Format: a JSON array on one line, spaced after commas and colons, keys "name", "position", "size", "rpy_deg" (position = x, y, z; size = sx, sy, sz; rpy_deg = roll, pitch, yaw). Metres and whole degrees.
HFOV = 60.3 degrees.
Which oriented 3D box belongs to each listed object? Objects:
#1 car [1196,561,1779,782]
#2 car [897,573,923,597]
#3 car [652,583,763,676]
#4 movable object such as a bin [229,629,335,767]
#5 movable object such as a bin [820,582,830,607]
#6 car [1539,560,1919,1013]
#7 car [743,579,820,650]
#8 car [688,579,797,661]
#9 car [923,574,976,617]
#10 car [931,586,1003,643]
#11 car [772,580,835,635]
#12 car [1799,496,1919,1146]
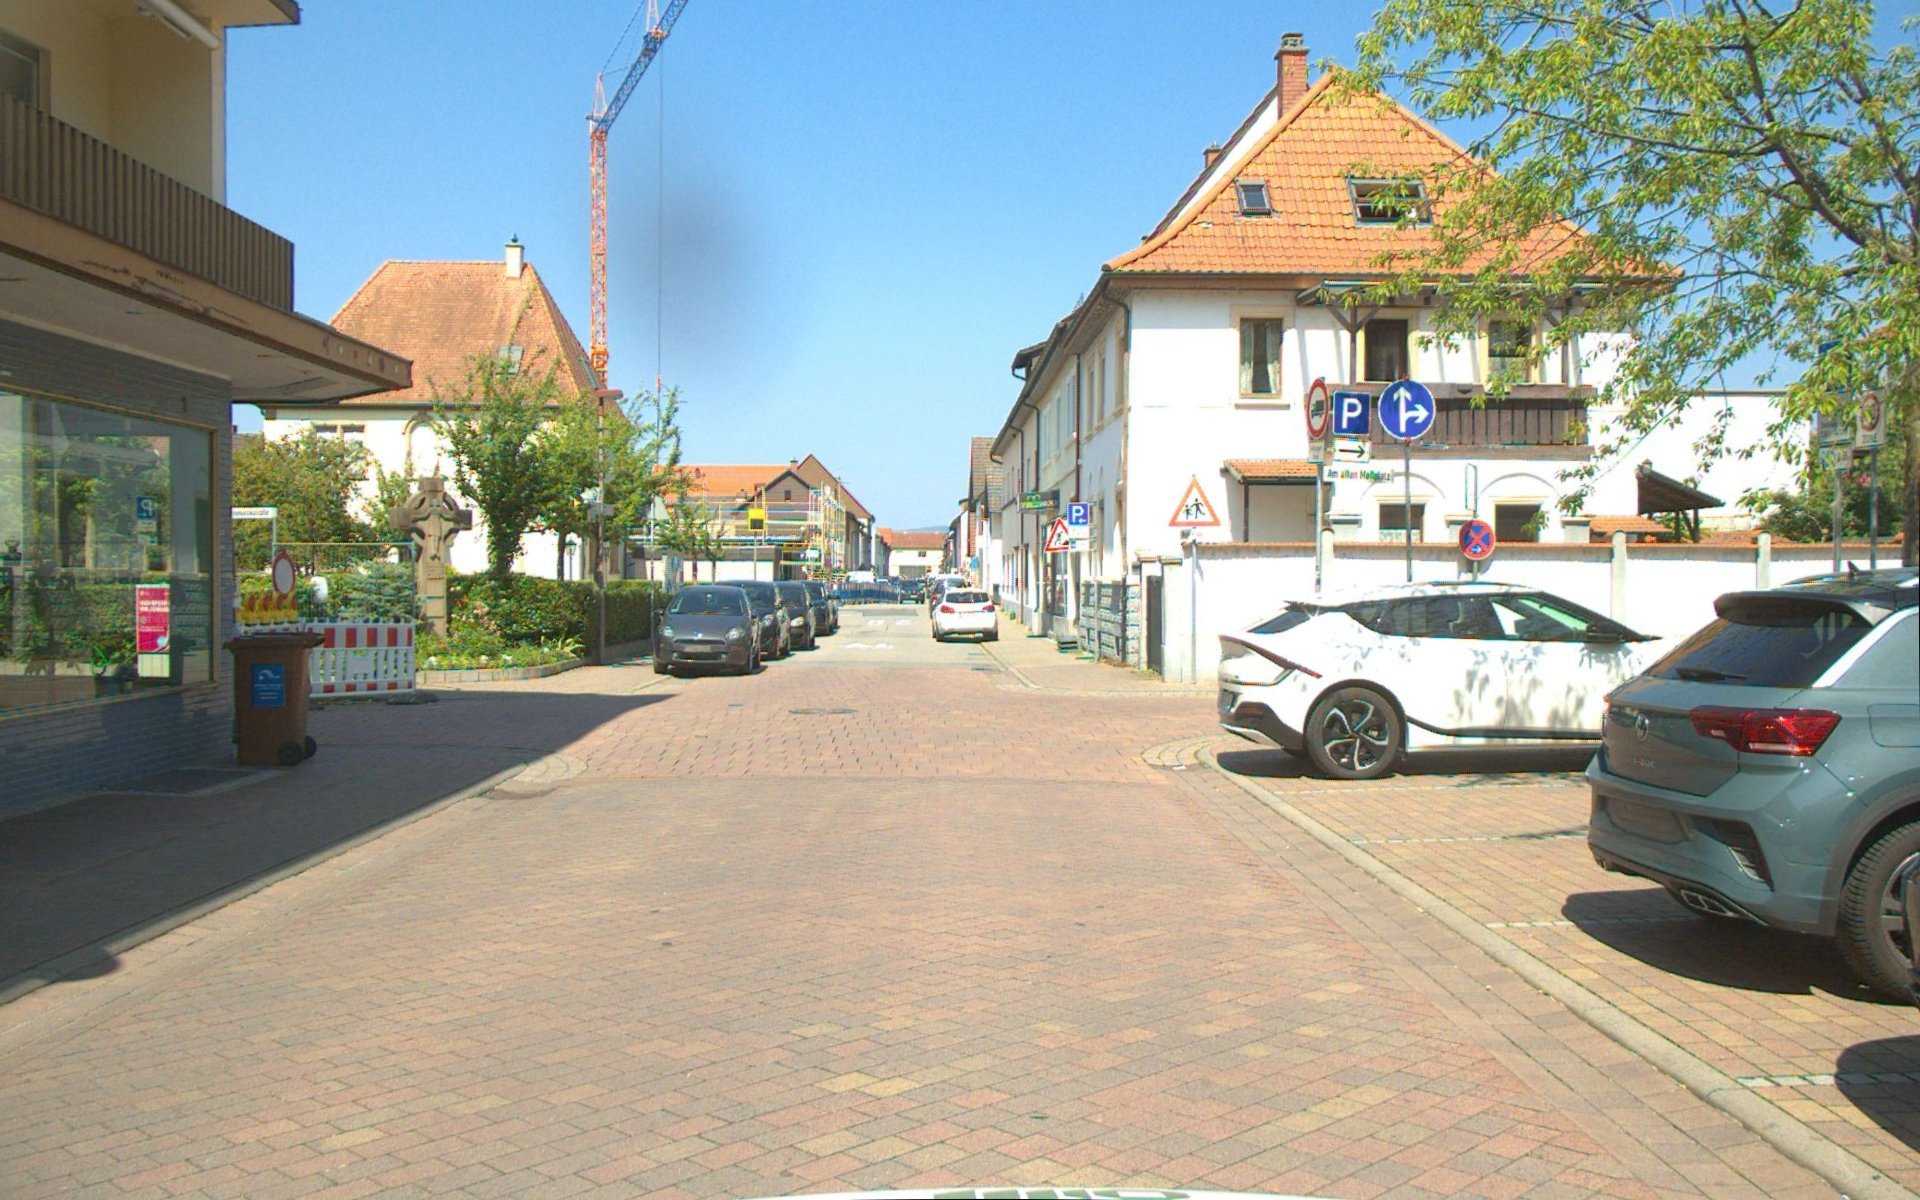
[{"name": "car", "position": [4.349, 0.548, 14.048], "size": [4.352, 1.603, 1.787], "rpy_deg": [-2, 1, -4]}, {"name": "car", "position": [-3.557, -1.077, 117.022], "size": [1.844, 1.697, 4.152], "rpy_deg": [0, 1, -2]}, {"name": "car", "position": [-4.415, 0.469, 29.330], "size": [1.669, 1.523, 3.854], "rpy_deg": [0, 1, -5]}, {"name": "movable object such as a bin", "position": [-5.583, 0.799, 13.648], "size": [0.642, 1.089, 0.663], "rpy_deg": [1, 0, -7]}, {"name": "movable object such as a bin", "position": [-6.281, -0.255, 76.757], "size": [0.423, 1.176, 0.363], "rpy_deg": [0, 1, -11]}, {"name": "car", "position": [4.656, 0.597, 6.812], "size": [3.864, 1.560, 1.823], "rpy_deg": [-2, 1, -2]}, {"name": "car", "position": [-4.361, 0.317, 40.866], "size": [1.604, 1.657, 3.767], "rpy_deg": [0, 1, -2]}, {"name": "car", "position": [-4.565, 0.375, 35.186], "size": [1.778, 1.633, 4.024], "rpy_deg": [0, 1, 0]}, {"name": "car", "position": [-0.461, -0.222, 67.827], "size": [1.848, 1.583, 3.891], "rpy_deg": [-4, 1, -4]}, {"name": "car", "position": [0.243, 0.382, 47.971], "size": [1.847, 1.569, 4.245], "rpy_deg": [0, 1, 3]}, {"name": "car", "position": [-4.845, 0.195, 51.637], "size": [1.790, 1.659, 4.215], "rpy_deg": [0, 1, -3]}, {"name": "car", "position": [4.634, 0.543, 4.020], "size": [4.194, 1.710, 1.999], "rpy_deg": [-1, 1, -4]}]
